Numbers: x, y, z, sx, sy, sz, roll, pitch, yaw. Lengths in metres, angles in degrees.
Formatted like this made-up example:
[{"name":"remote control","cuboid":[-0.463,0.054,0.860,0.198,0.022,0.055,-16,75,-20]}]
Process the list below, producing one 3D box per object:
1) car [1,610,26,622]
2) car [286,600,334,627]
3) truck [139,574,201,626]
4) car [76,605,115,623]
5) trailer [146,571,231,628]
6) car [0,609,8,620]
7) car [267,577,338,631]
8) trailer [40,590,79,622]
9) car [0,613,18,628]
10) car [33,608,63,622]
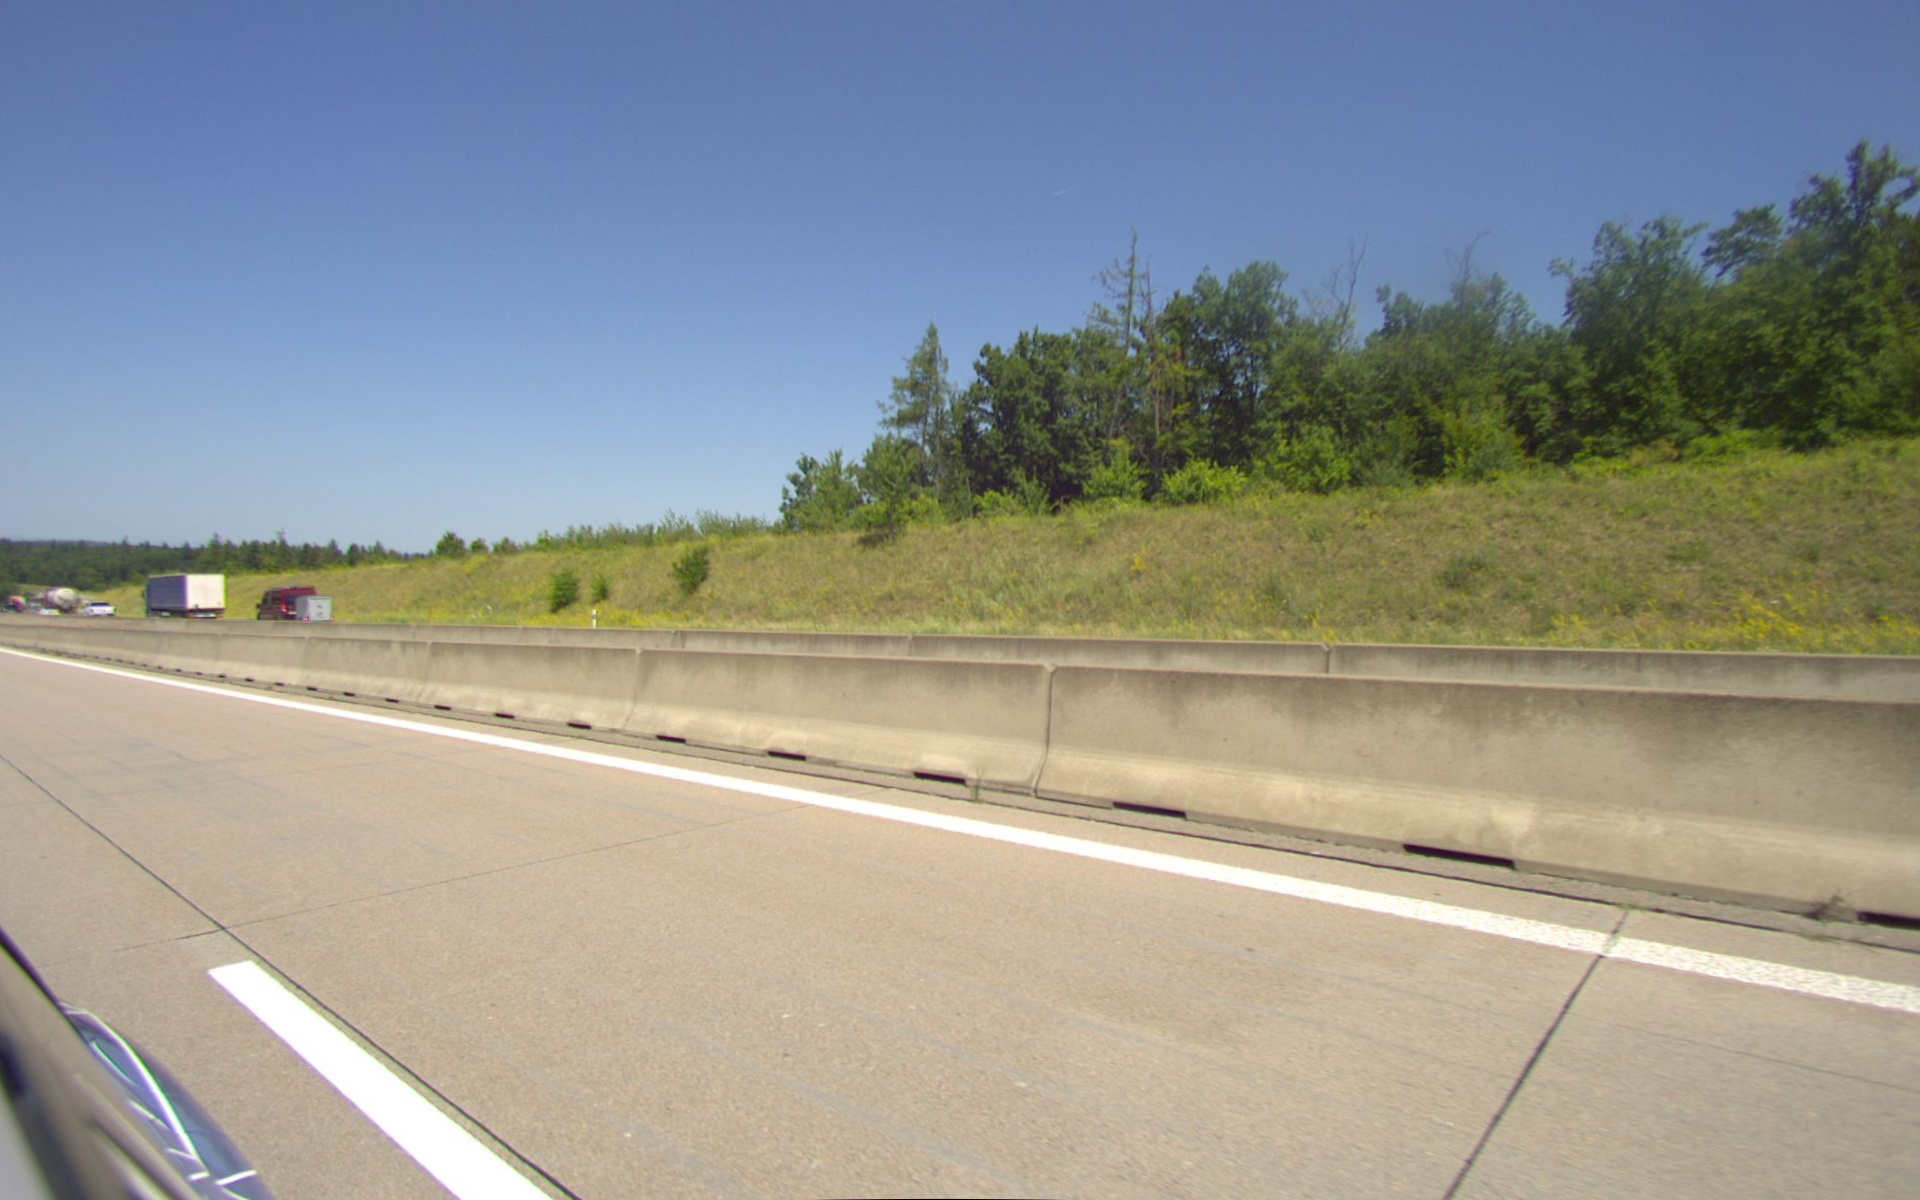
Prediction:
[{"name":"car","cuboid":[-122.495,2.077,130.939,4.429,1.595,1.972,-1,-1,42]},{"name":"car","cuboid":[-40.610,0.860,63.220,3.575,1.613,1.597,0,-2,41]},{"name":"truck","cuboid":[-70.598,0.008,90.384,6.572,4.538,3.222,0,0,42]},{"name":"car","cuboid":[-77.479,1.267,90.689,5.517,1.595,1.972,-1,-1,42]},{"name":"trailer","cuboid":[-65.779,-0.018,86.070,13.734,4.538,3.222,0,0,42]},{"name":"car","cuboid":[-144.154,2.121,151.524,4.178,1.595,1.972,-1,-1,42]},{"name":"car","cuboid":[-41.793,0.300,64.249,7.057,3.266,1.973,-1,-1,41]},{"name":"trailer","cuboid":[-120.264,0.825,135.083,9.332,4.200,2.902,0,0,42]},{"name":"car","cuboid":[-98.680,2.106,104.316,4.401,1.595,1.972,-1,-1,42]},{"name":"car","cuboid":[-102.501,1.671,113.721,4.528,1.595,1.972,-1,-1,42]}]
